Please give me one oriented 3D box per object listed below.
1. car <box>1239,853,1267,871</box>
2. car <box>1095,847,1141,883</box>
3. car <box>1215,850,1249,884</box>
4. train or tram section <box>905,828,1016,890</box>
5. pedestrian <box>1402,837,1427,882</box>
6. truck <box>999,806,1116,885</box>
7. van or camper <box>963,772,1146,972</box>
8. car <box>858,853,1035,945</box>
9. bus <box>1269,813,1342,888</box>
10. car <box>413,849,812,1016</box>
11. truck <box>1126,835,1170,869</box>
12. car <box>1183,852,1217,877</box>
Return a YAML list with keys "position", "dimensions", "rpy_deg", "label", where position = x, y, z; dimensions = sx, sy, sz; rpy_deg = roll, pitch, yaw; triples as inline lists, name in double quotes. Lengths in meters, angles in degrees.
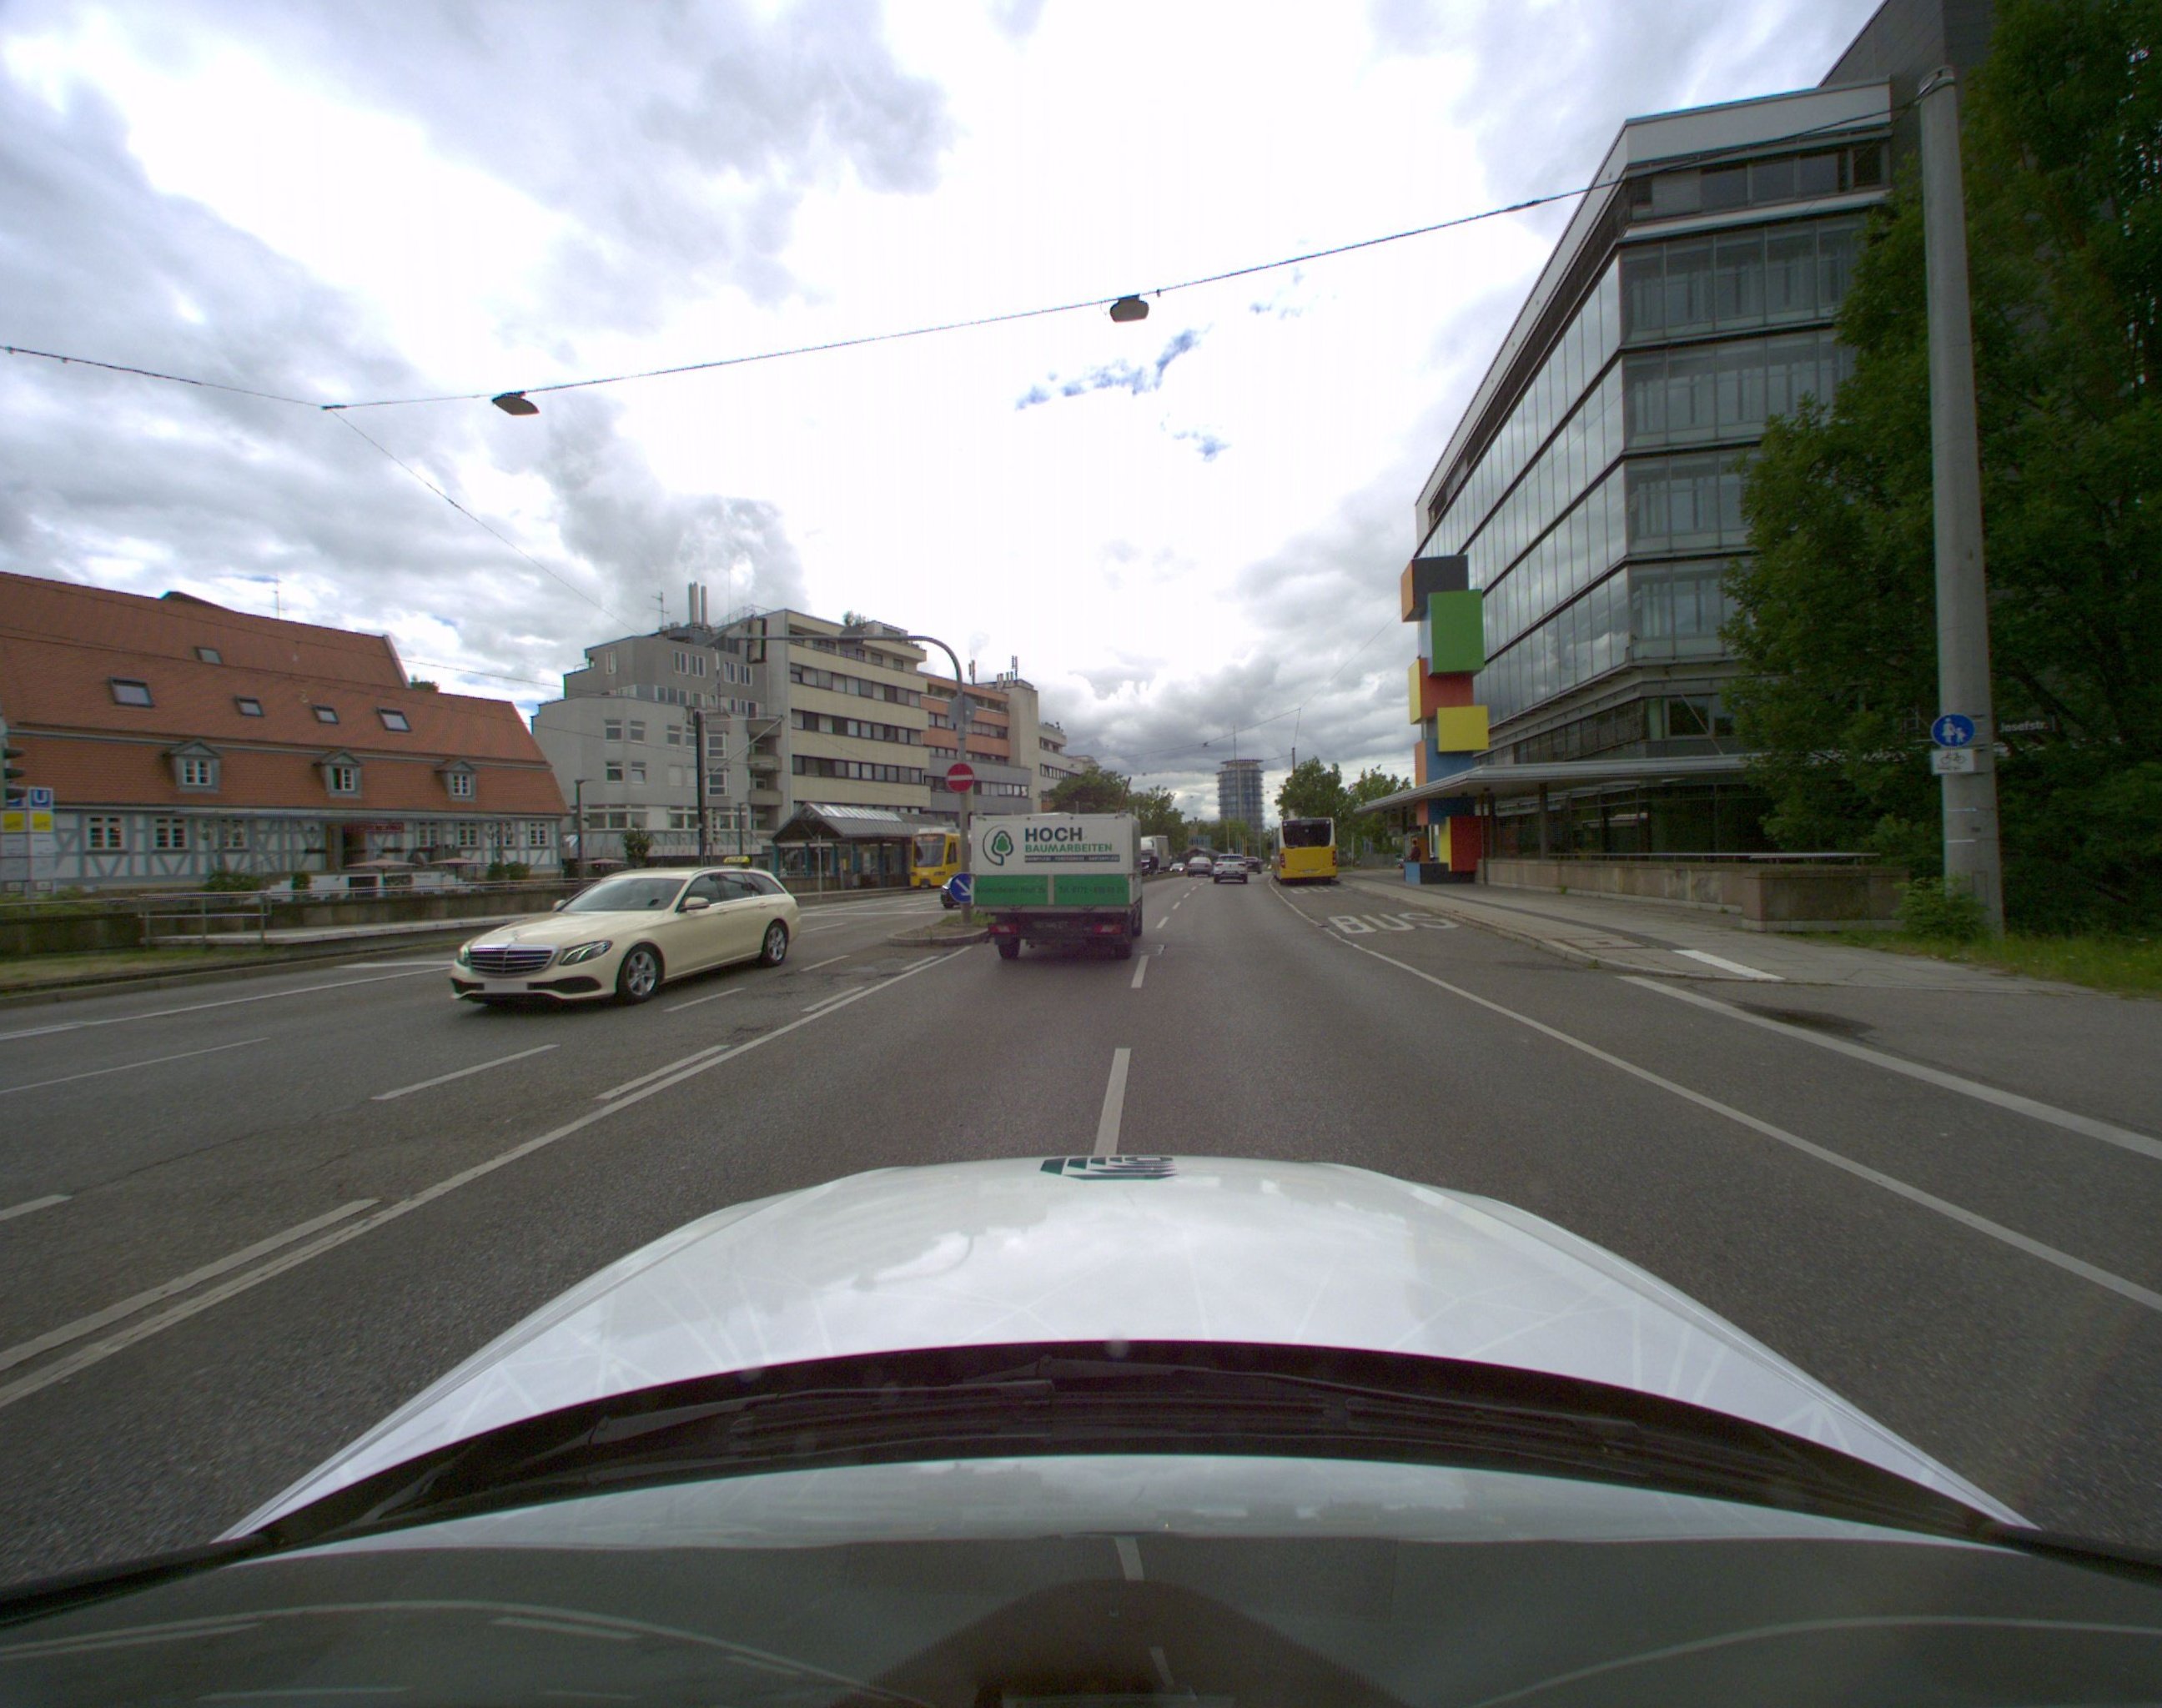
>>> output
- position: [15.207, 0.696, 71.865]
  dimensions: [1.684, 1.516, 3.514]
  rpy_deg: [-1, 1, 26]
  label: "car"
- position: [2.334, 0.627, 49.668]
  dimensions: [1.981, 2.013, 5.212]
  rpy_deg: [-1, 0, 11]
  label: "car"
- position: [8.156, 0.656, 44.169]
  dimensions: [1.689, 1.547, 3.747]
  rpy_deg: [2, 3, 10]
  label: "car"
- position: [-7.240, 0.293, 51.770]
  dimensions: [2.542, 3.411, 13.124]
  rpy_deg: [-2, 0, 12]
  label: "train or tram section"
- position: [13.682, 0.220, 33.406]
  dimensions: [0.706, 1.816, 0.764]
  rpy_deg: [-1, 0, 2]
  label: "pedestrian"
- position: [-0.892, -0.499, 51.176]
  dimensions: [2.933, 4.079, 16.664]
  rpy_deg: [-1, 0, 14]
  label: "truck"
- position: [-0.126, 0.182, 13.882]
  dimensions: [2.331, 2.661, 5.975]
  rpy_deg: [0, 1, 6]
  label: "van or camper"
- position: [-2.410, 0.763, 16.053]
  dimensions: [1.954, 1.499, 4.788]
  rpy_deg: [-1, 0, 9]
  label: "car"
- position: [11.237, -0.181, 41.612]
  dimensions: [2.934, 3.190, 9.963]
  rpy_deg: [-3, 0, 13]
  label: "bus"
- position: [-5.470, 0.814, 10.486]
  dimensions: [1.888, 1.618, 4.842]
  rpy_deg: [-2, -1, 7]
  label: "car"
- position: [6.454, -0.193, 77.350]
  dimensions: [3.063, 3.028, 9.387]
  rpy_deg: [-1, 0, 11]
  label: "truck"
- position: [8.494, 0.727, 57.918]
  dimensions: [1.686, 1.515, 3.755]
  rpy_deg: [0, 4, 19]
  label: "car"
